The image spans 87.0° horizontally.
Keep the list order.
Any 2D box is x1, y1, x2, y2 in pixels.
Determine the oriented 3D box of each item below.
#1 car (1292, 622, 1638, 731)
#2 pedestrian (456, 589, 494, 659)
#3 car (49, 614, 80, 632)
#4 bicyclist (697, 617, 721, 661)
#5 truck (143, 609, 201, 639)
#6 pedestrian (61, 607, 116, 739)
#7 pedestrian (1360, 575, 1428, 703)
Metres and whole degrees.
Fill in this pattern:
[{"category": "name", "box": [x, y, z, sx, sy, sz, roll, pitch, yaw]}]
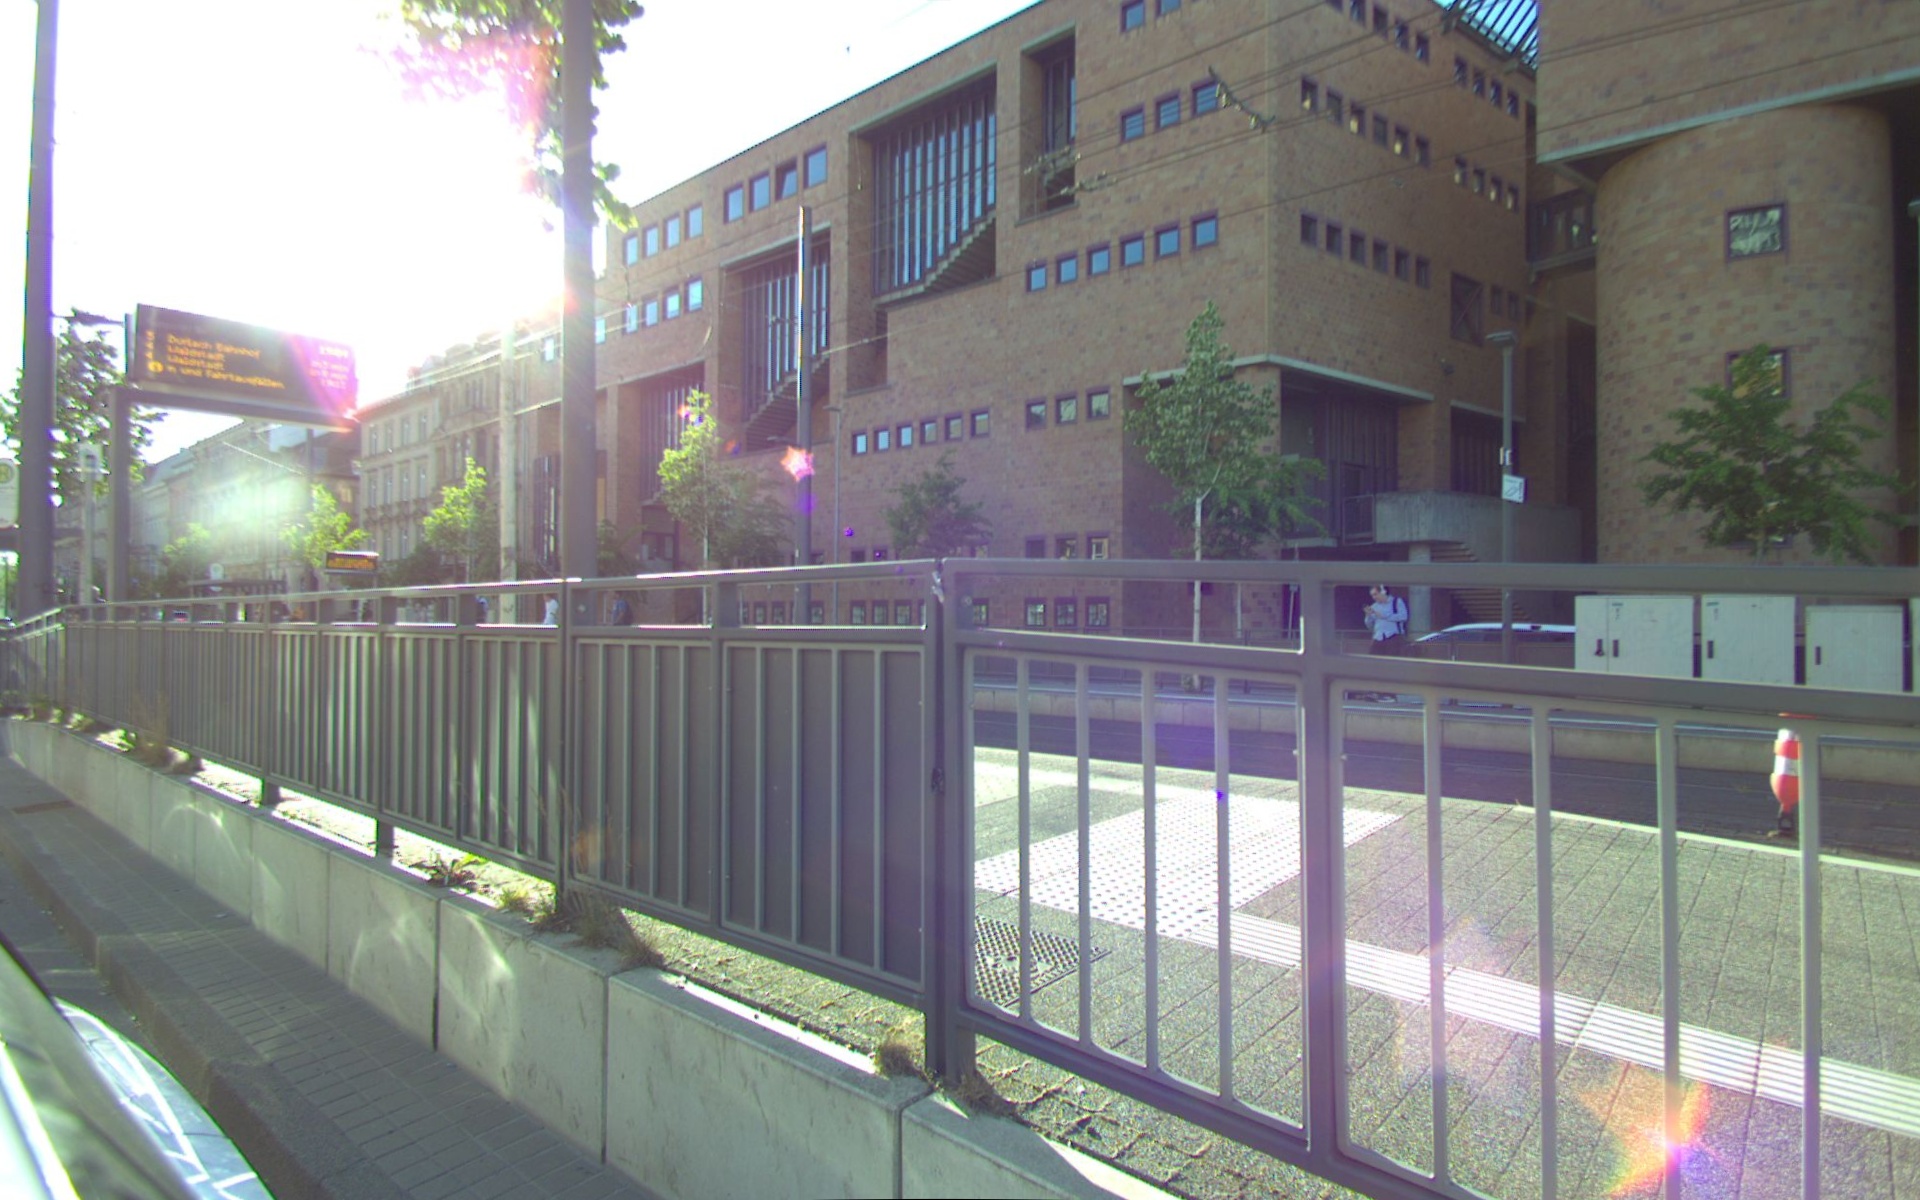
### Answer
[{"category": "car", "box": [7.662, 1.077, 15.579, 4.522, 1.441, 1.808, -1, -2, 37]}, {"category": "pedestrian", "box": [-12.914, 0.634, 26.954, 0.668, 1.821, 0.677, 0, 0, 40]}, {"category": "car", "box": [-83.280, 2.140, 94.088, 3.445, 1.639, 1.634, 0, 0, 40]}, {"category": "bicyclist", "box": [-8.991, 1.392, 36.278, 0.650, 1.545, 0.580, 0, 0, 41]}, {"category": "truck", "box": [-52.256, 1.611, 67.079, 5.151, 1.894, 1.973, -2, -4, 40]}, {"category": "pedestrian", "box": [-16.648, 1.360, 19.329, 0.625, 2.461, 0.676, 0, 0, 38]}, {"category": "pedestrian", "box": [5.774, 0.496, 13.465, 0.684, 1.647, 0.660, 0, 0, 37]}]
